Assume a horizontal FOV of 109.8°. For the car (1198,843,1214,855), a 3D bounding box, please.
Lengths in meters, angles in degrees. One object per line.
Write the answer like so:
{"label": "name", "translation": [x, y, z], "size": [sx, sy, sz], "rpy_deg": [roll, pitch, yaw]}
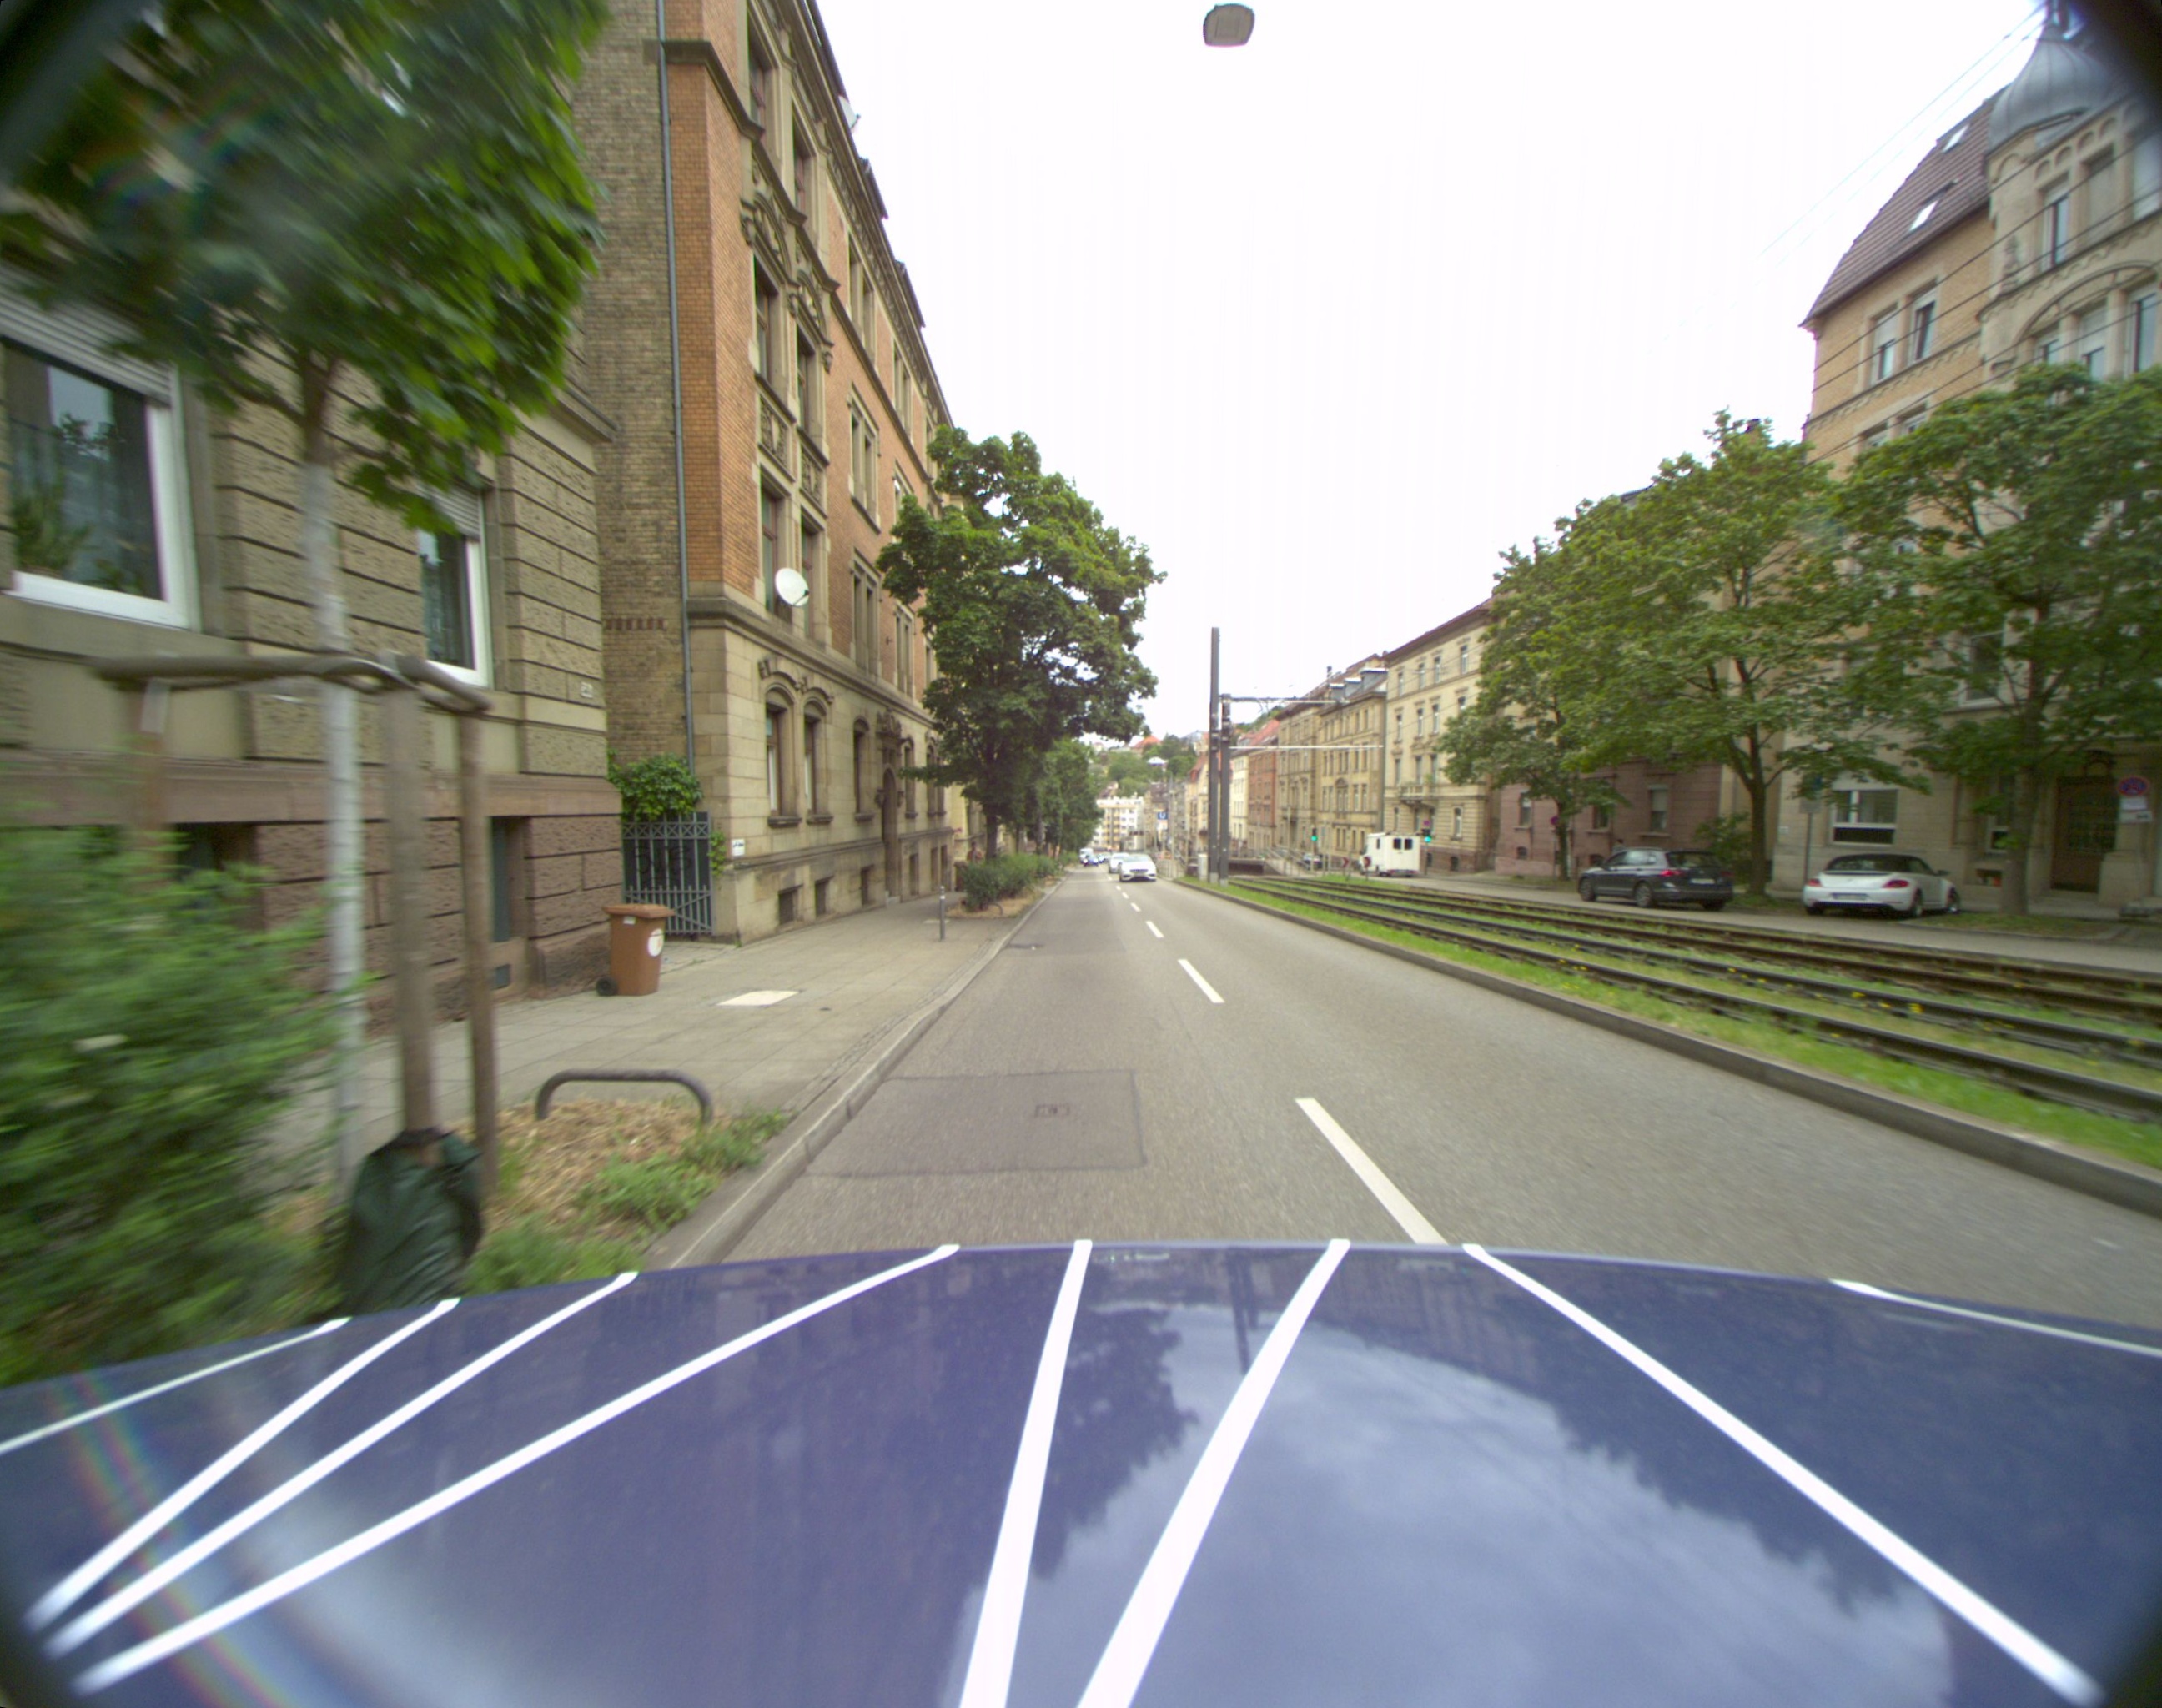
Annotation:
{"label": "car", "translation": [18.027, -0.733, 109.789], "size": [1.713, 1.725, 4.576], "rpy_deg": [0, 0, 2]}

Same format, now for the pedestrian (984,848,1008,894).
{"label": "pedestrian", "translation": [-3.060, 0.588, 27.558], "size": [0.687, 1.566, 1.216], "rpy_deg": [2, 3, 1]}

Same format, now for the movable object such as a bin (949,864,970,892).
{"label": "movable object such as a bin", "translation": [-4.527, 0.884, 28.401], "size": [0.672, 1.010, 0.582], "rpy_deg": [2, -1, -1]}

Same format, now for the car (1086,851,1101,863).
{"label": "car", "translation": [1.482, 0.333, 88.526], "size": [1.694, 1.466, 3.857], "rpy_deg": [0, 0, 1]}

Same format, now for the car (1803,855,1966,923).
{"label": "car", "translation": [19.124, 0.748, 18.059], "size": [4.006, 1.414, 1.782], "rpy_deg": [0, 1, -30]}

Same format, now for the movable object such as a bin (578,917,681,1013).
{"label": "movable object such as a bin", "translation": [-4.589, 1.113, 7.754], "size": [0.672, 0.892, 0.582], "rpy_deg": [2, -1, -1]}

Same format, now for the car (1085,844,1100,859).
{"label": "car", "translation": [1.733, -0.307, 118.086], "size": [2.263, 2.274, 5.968], "rpy_deg": [-1, 0, 1]}

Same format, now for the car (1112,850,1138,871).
{"label": "car", "translation": [3.310, 0.482, 57.527], "size": [1.806, 1.542, 4.000], "rpy_deg": [-1, 0, 1]}

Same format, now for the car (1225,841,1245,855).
{"label": "car", "translation": [20.756, -0.814, 102.509], "size": [1.853, 1.849, 4.138], "rpy_deg": [0, 0, 1]}

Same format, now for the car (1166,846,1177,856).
{"label": "car", "translation": [20.920, -0.744, 176.509], "size": [1.998, 2.291, 5.455], "rpy_deg": [0, 0, 1]}

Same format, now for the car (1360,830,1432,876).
{"label": "car", "translation": [19.818, -0.069, 48.222], "size": [2.397, 2.684, 6.521], "rpy_deg": [2, 0, 6]}

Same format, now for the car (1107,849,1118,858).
{"label": "car", "translation": [4.480, -0.046, 109.361], "size": [1.562, 1.330, 4.000], "rpy_deg": [0, 0, 1]}

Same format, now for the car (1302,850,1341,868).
{"label": "car", "translation": [20.332, 0.378, 64.431], "size": [1.753, 1.420, 4.748], "rpy_deg": [1, 0, 0]}

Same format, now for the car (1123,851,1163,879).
{"label": "car", "translation": [3.235, 0.553, 40.080], "size": [1.806, 1.391, 4.000], "rpy_deg": [-1, 0, 0]}

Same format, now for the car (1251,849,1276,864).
{"label": "car", "translation": [17.752, 0.233, 74.094], "size": [1.581, 1.369, 3.654], "rpy_deg": [0, 0, -1]}

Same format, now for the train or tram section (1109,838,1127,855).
{"label": "train or tram section", "translation": [7.978, -1.486, 165.761], "size": [2.968, 3.456, 14.408], "rpy_deg": [0, 0, -1]}

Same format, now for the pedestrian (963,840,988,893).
{"label": "pedestrian", "translation": [-3.828, 0.433, 27.600], "size": [0.687, 1.820, 1.121], "rpy_deg": [2, 3, 1]}

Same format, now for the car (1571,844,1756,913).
{"label": "car", "translation": [15.715, 0.594, 20.859], "size": [1.884, 1.640, 4.472], "rpy_deg": [2, 0, 5]}

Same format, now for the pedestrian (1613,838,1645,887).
{"label": "pedestrian", "translation": [22.393, 0.341, 31.045], "size": [0.722, 2.002, 0.797], "rpy_deg": [0, 0, -1]}
